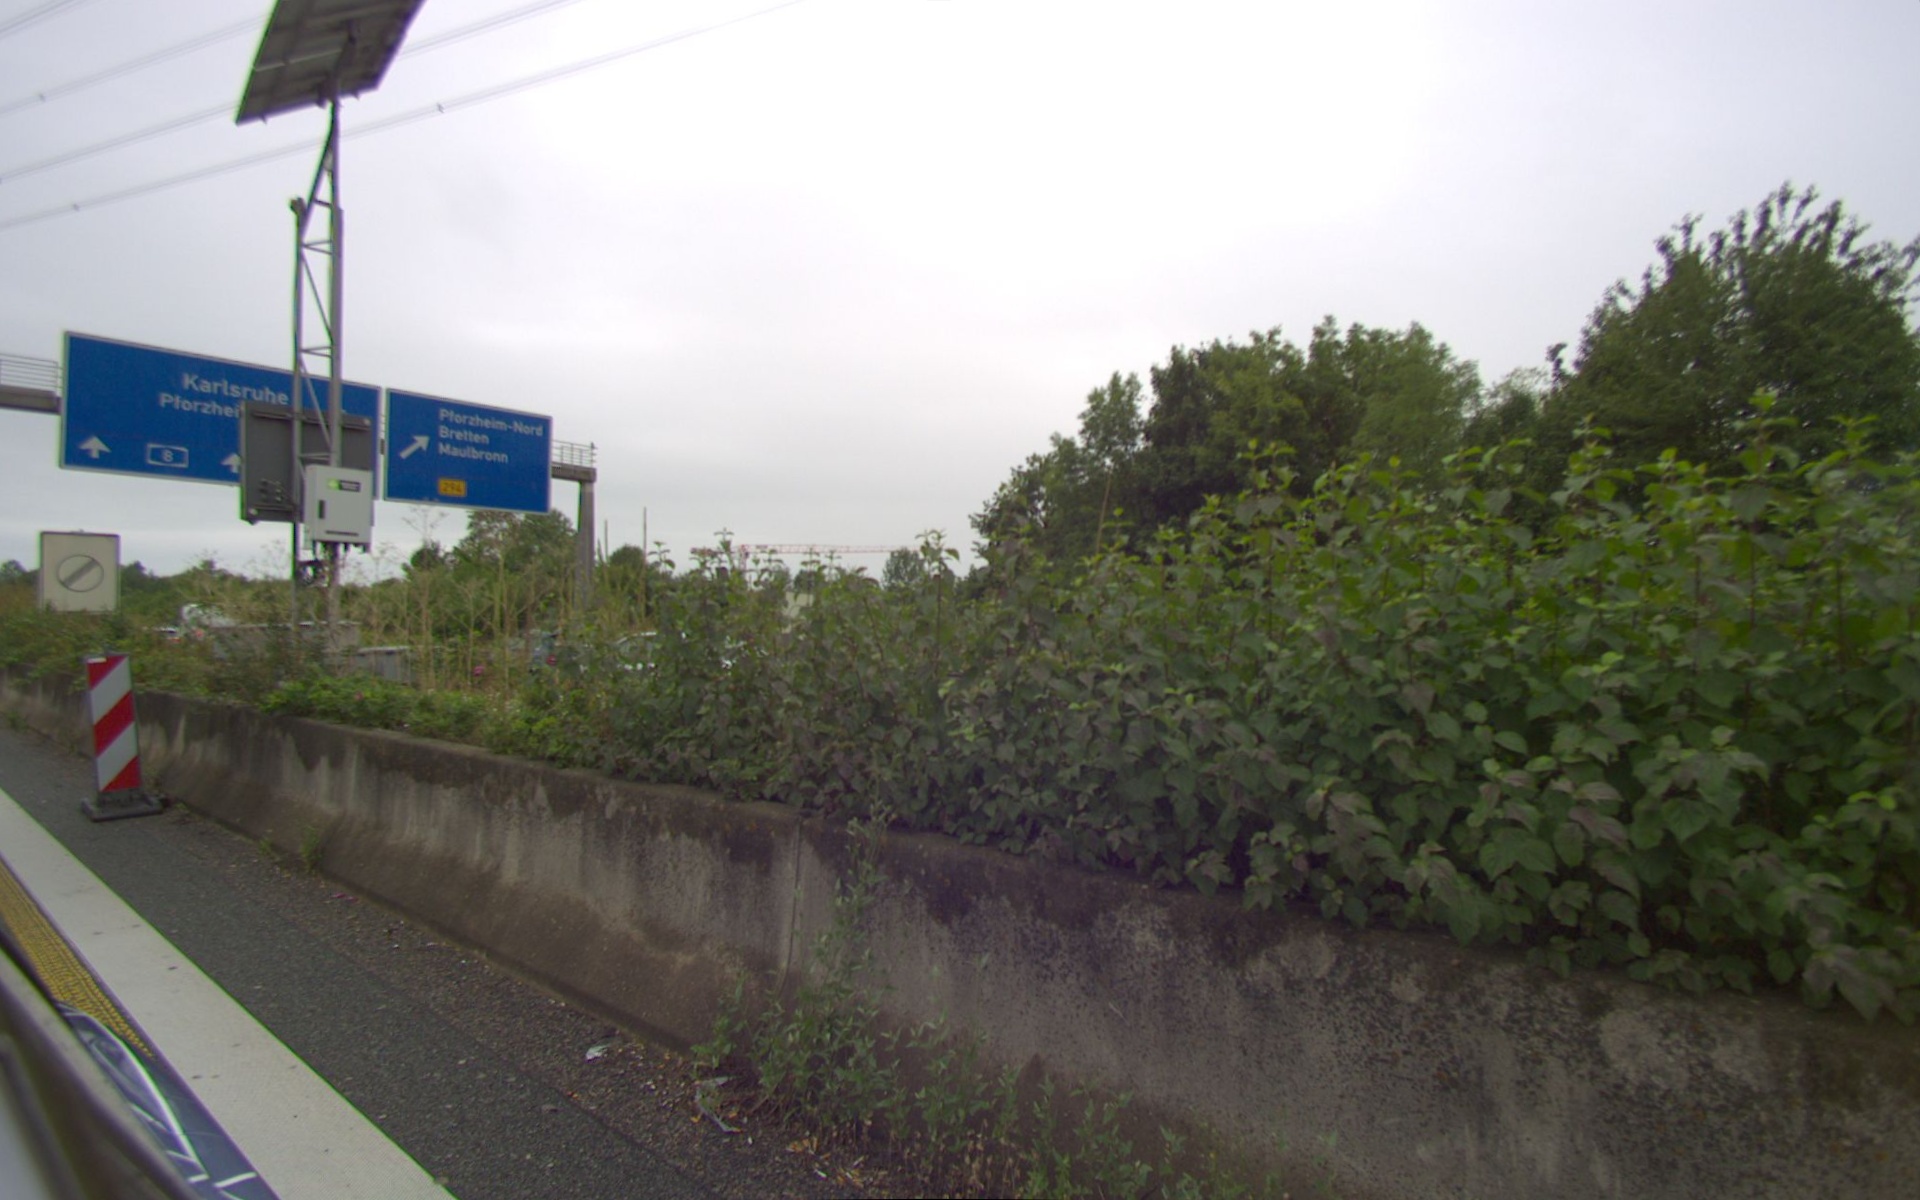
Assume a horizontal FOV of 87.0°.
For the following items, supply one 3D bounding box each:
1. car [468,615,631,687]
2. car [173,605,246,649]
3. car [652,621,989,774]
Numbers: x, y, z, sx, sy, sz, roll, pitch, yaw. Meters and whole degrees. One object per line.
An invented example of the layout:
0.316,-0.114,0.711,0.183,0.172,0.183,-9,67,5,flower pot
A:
-9.700,1.137,23.780,3.998,1.539,1.973,-1,-1,41,car
-41.192,1.469,55.501,5.201,2.282,2.157,-1,-1,41,car
-1.813,1.047,12.446,3.998,1.539,1.973,-1,-1,41,car
